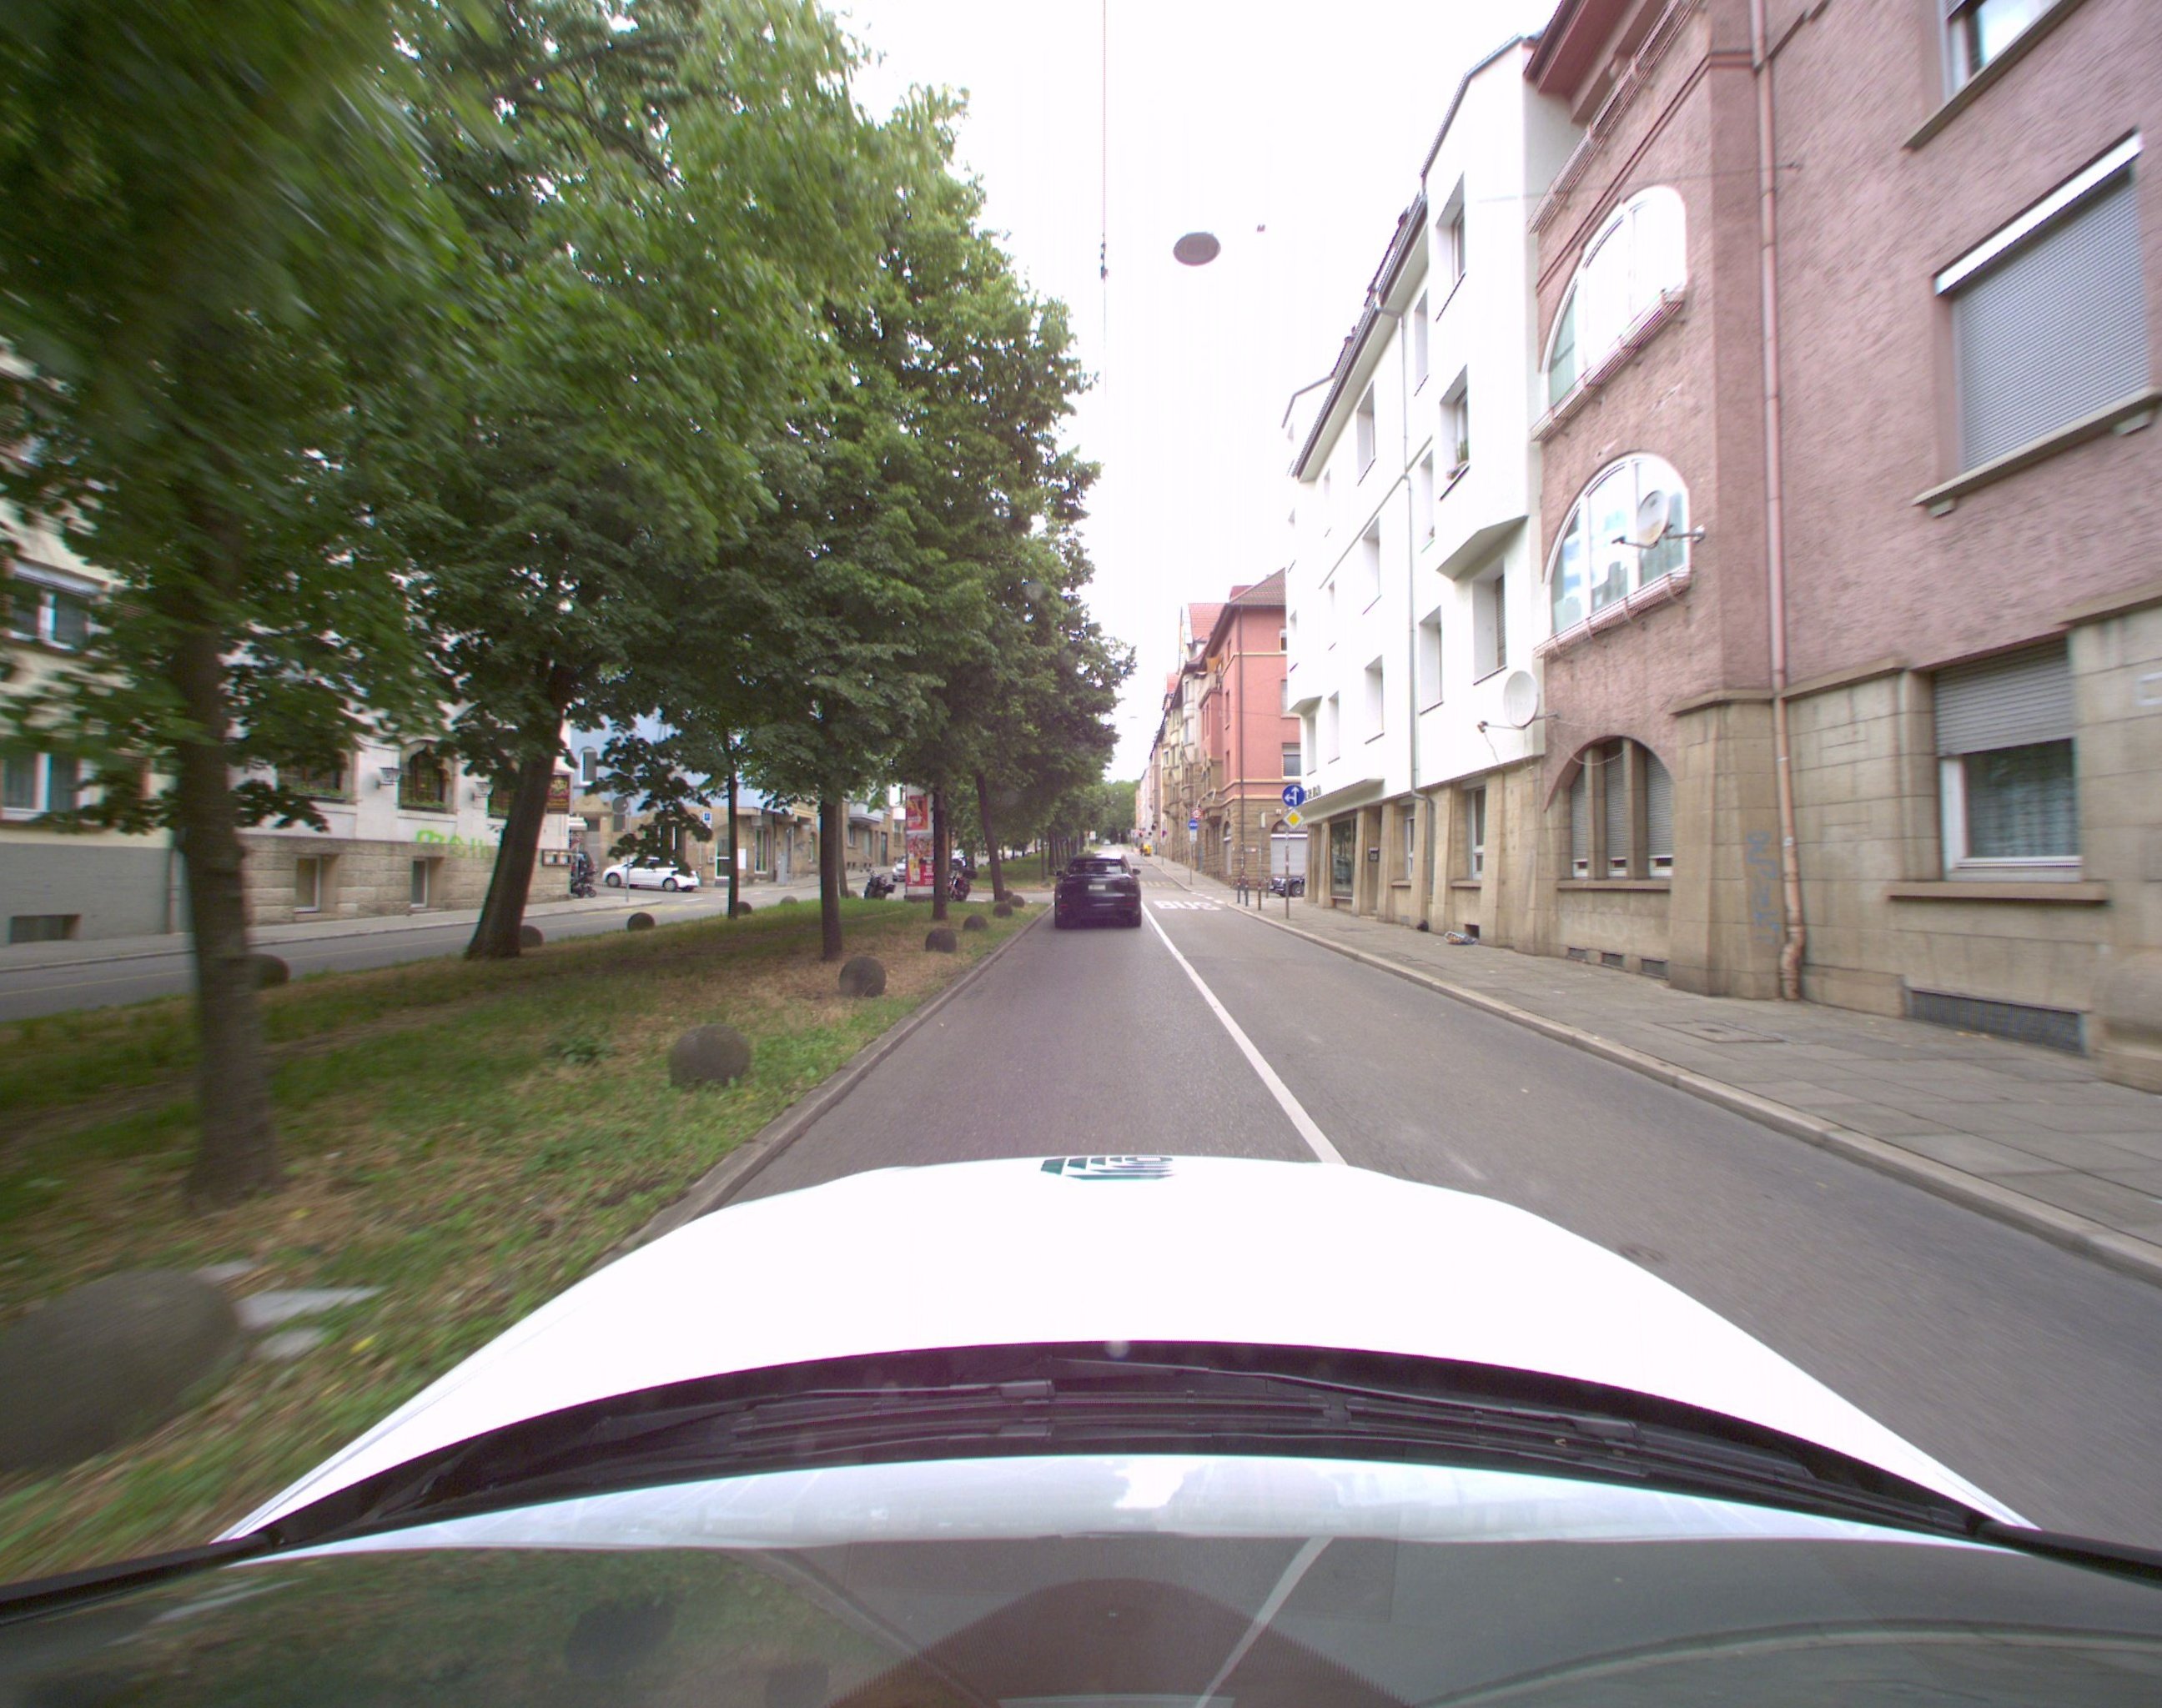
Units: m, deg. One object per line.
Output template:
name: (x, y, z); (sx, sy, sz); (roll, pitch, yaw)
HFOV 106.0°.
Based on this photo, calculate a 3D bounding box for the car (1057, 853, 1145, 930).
car: (0.457, 0.824, 19.787); (1.897, 1.666, 4.135); (0, 0, 0)

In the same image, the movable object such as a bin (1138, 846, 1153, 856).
movable object such as a bin: (8.162, -0.368, 102.405); (1.241, 1.274, 1.834); (0, -1, -20)

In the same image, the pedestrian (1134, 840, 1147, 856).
pedestrian: (7.593, -0.713, 103.776); (1.306, 2.014, 1.013); (0, -1, -21)

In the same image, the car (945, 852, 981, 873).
car: (-9.040, 0.640, 62.823); (1.986, 1.483, 4.534); (-1, 0, 2)

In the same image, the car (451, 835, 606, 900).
car: (-21.707, 0.494, 32.098); (4.776, 2.052, 2.004); (5, 1, 6)

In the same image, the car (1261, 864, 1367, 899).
car: (10.093, 1.159, 35.380); (3.999, 1.376, 1.987); (-1, 0, -19)

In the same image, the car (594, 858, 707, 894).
car: (-19.301, 0.963, 36.604); (3.972, 1.497, 2.001); (-1, 0, 1)

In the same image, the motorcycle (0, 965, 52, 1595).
motorcycle: (-3.321, 0.843, 1.155); (2.348, 1.236, 1.033); (0, -2, 0)

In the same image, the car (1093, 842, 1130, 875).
car: (1.733, 0.251, 46.428); (1.986, 1.753, 4.002); (0, 0, 2)

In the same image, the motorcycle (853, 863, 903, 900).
motorcycle: (-6.332, 0.861, 25.522); (0.897, 1.107, 2.252); (-1, -2, 2)

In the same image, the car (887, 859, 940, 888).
car: (-9.951, 1.124, 48.782); (1.986, 1.624, 4.818); (-1, 0, 2)

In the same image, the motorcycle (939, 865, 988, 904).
motorcycle: (-3.666, 0.930, 25.583); (1.058, 1.148, 2.449); (-1, 0, 2)
